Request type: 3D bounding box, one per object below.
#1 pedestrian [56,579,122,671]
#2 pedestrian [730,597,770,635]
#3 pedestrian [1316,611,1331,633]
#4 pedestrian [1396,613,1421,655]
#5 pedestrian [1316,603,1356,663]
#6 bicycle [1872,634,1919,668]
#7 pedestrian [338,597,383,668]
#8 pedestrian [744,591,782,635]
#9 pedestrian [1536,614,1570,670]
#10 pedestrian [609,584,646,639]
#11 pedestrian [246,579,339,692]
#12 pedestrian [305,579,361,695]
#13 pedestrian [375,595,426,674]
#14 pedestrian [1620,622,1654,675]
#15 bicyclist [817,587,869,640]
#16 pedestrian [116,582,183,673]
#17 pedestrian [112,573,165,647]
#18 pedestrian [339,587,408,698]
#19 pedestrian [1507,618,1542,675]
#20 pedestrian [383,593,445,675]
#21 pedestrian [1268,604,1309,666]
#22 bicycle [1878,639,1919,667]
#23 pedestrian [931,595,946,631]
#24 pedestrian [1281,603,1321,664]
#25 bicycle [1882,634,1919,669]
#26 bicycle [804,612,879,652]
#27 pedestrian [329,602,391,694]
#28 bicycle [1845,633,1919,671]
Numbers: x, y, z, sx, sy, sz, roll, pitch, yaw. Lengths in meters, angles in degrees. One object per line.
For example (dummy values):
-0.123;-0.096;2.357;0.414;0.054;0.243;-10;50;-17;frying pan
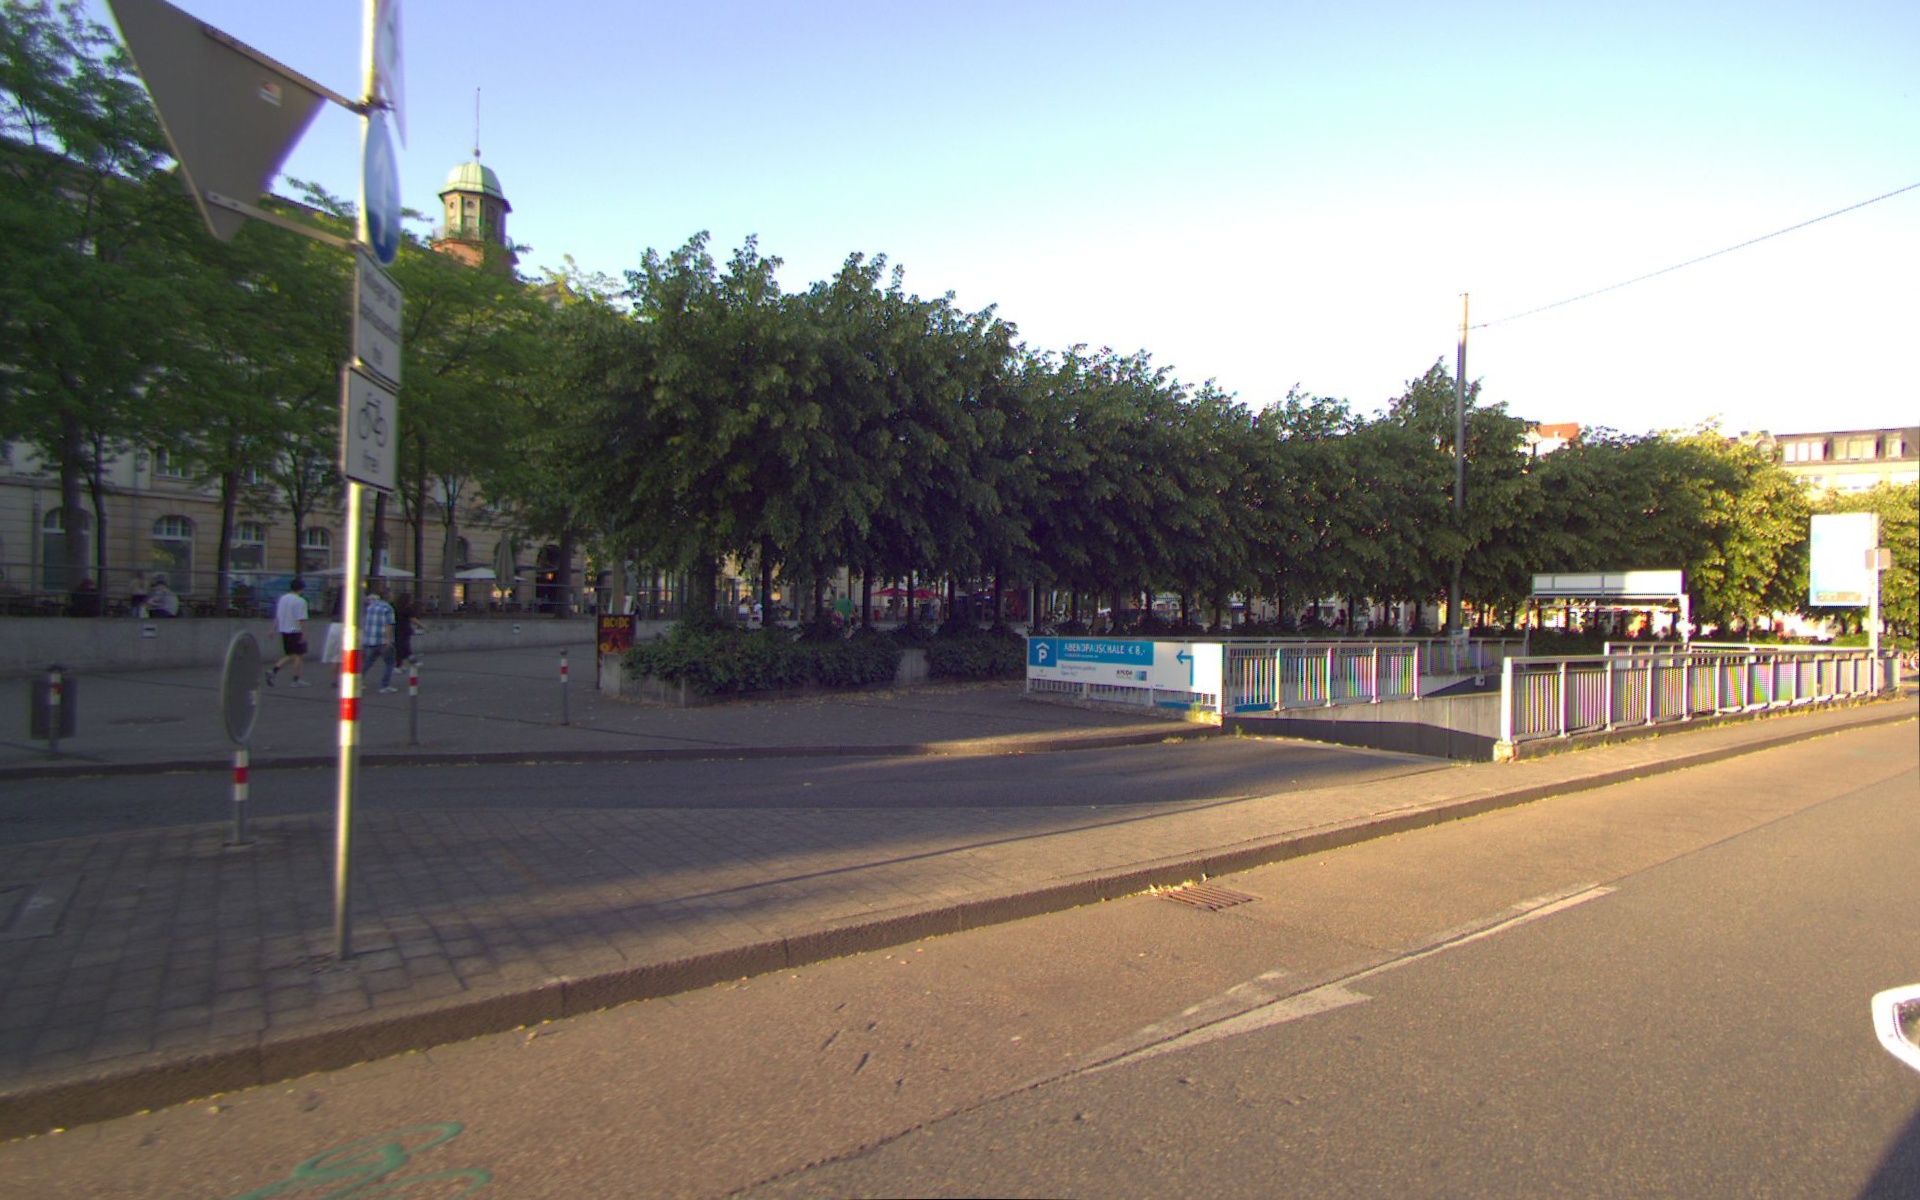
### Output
-17.444;0.489;20.121;0.783;1.805;0.761;1;0;31;pedestrian
-7.817;0.583;37.382;1.243;1.398;0.737;1;-1;25;pedestrian
25.867;1.553;71.505;0.961;1.520;0.989;1;-1;21;pedestrian
21.332;1.617;47.785;0.721;1.974;0.799;1;0;-29;pedestrian
12.949;1.127;34.652;0.903;2.040;0.912;1;0;-14;pedestrian
36.873;1.972;38.774;0.458;1.254;2.412;1;0;-38;bicycle
-14.931;0.796;25.029;0.789;1.750;0.622;0;0;28;pedestrian
-7.458;0.489;38.038;1.244;1.669;0.707;1;0;26;pedestrian
21.630;1.523;36.649;0.720;1.974;0.800;1;0;-24;pedestrian
-10.681;0.359;32.255;0.904;1.750;0.702;0;0;28;pedestrian
-11.442;0.594;17.246;0.965;1.878;0.890;0;1;9;pedestrian
-10.651;0.605;17.057;0.708;1.900;0.772;0;1;-39;pedestrian
-11.339;0.687;20.369;0.666;1.563;0.593;0;1;8;pedestrian
25.684;1.841;38.134;0.720;1.974;0.800;1;0;-24;pedestrian
-3.435;0.387;29.474;1.358;1.529;0.751;0;-1;33;bicyclist
-16.938;0.556;20.992;1.102;1.843;0.702;0;0;28;pedestrian
-23.142;0.284;28.297;1.047;2.040;0.831;1;0;32;pedestrian
-9.495;0.673;16.274;0.702;1.769;0.687;0;1;0;pedestrian
20.126;1.643;35.827;0.720;1.974;0.800;1;0;-24;pedestrian
-10.816;0.657;19.913;0.783;1.603;0.731;0;1;15;pedestrian
11.013;1.176;33.700;0.903;2.040;0.912;1;0;-14;pedestrian
37.276;2.100;39.203;0.630;0.984;2.027;1;2;-38;bicycle
-1.202;0.727;56.511;0.716;1.974;0.805;1;0;5;pedestrian
11.702;1.144;34.476;0.903;2.040;0.912;1;0;-14;pedestrian
36.587;1.976;38.018;0.513;1.254;2.412;1;1;-38;bicycle
-3.441;0.913;29.430;0.935;1.116;2.324;0;-1;31;bicycle
-10.050;0.783;16.844;0.592;1.506;0.716;0;1;-2;pedestrian
34.951;1.933;37.723;0.802;1.301;2.503;1;0;-16;bicycle
